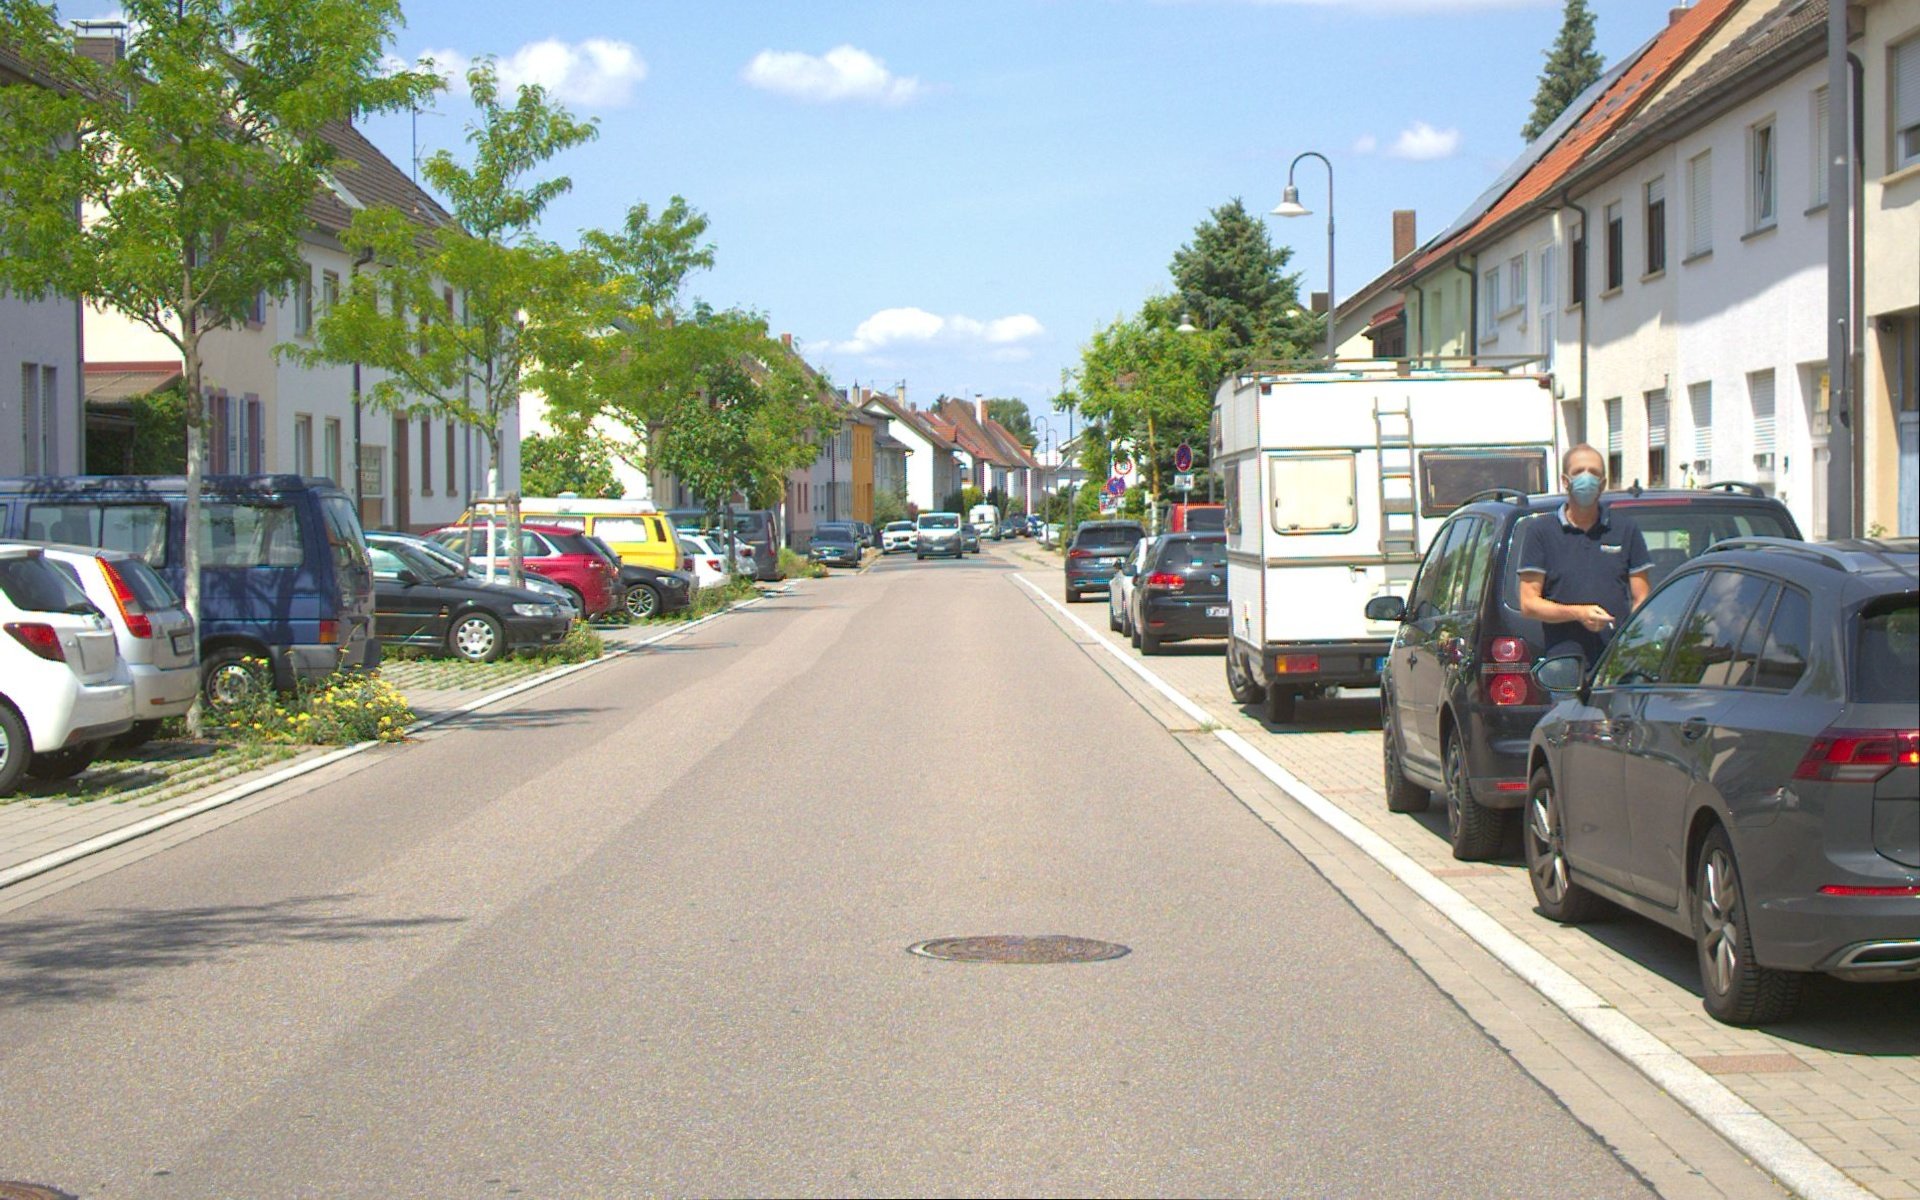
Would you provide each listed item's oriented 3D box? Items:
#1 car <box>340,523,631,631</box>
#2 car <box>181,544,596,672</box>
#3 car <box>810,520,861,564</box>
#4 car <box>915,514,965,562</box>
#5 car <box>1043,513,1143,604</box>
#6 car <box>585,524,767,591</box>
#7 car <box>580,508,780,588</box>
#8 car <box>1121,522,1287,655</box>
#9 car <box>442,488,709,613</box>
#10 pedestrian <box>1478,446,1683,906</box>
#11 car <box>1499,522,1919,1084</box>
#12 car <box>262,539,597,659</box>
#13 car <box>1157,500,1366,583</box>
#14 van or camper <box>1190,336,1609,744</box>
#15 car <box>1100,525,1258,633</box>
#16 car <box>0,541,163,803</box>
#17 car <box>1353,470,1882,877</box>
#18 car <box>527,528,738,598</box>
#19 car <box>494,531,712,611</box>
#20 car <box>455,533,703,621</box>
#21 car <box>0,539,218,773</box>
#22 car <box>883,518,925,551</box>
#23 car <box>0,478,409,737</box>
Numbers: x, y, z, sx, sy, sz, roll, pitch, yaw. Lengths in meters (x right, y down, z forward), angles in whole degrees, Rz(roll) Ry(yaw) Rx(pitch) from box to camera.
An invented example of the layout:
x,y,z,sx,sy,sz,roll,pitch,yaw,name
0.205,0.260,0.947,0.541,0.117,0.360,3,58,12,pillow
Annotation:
x,y,z,sx,sy,sz,roll,pitch,yaw,name
-7.305,-0.372,53.215,4.253,1.606,1.843,0,1,0,car
-6.609,0.082,40.063,4.524,1.420,1.796,0,1,0,car
-4.644,-2.182,128.328,1.816,1.428,4.140,2,3,-2,car
-0.853,-2.617,145.779,2.022,1.943,4.899,-2,1,-1,car
2.702,-0.871,69.580,1.864,1.630,4.446,-4,2,3,car
-6.630,-0.998,80.541,4.182,1.563,1.774,0,1,-3,car
-6.760,-1.259,83.422,4.700,1.916,1.938,0,1,0,car
2.951,-0.175,42.326,1.767,1.524,4.007,-1,1,1,car
-6.800,-0.888,61.132,4.508,2.170,1.925,0,1,0,car
2.548,0.301,14.164,0.716,1.846,0.578,-1,1,1,pedestrian
3.074,0.497,11.411,1.766,1.483,4.297,-1,1,-1,car
-6.753,-0.033,44.050,4.053,1.473,1.776,0,1,-2,car
6.924,-1.348,79.282,4.618,1.887,2.021,0,0,-1,car
3.328,-0.510,27.397,2.473,2.800,5.791,-3,2,0,van or camper
3.113,-0.340,49.599,1.832,1.460,4.520,-1,1,-2,car
-6.938,0.405,20.508,3.916,1.483,1.772,0,1,2,car
3.050,0.267,16.812,1.767,1.699,4.325,-1,1,1,car
-6.992,-0.795,73.667,4.295,1.463,1.774,0,1,2,car
-6.844,-0.571,65.652,4.071,1.463,1.754,-1,1,-8,car
-6.465,-0.399,58.603,4.010,1.454,1.755,0,1,0,car
-7.131,0.351,22.969,3.916,1.483,1.772,0,1,2,car
-2.884,-3.404,177.215,1.850,1.653,4.000,1,1,3,car
-6.921,0.044,27.629,4.613,1.989,1.953,0,1,2,car
